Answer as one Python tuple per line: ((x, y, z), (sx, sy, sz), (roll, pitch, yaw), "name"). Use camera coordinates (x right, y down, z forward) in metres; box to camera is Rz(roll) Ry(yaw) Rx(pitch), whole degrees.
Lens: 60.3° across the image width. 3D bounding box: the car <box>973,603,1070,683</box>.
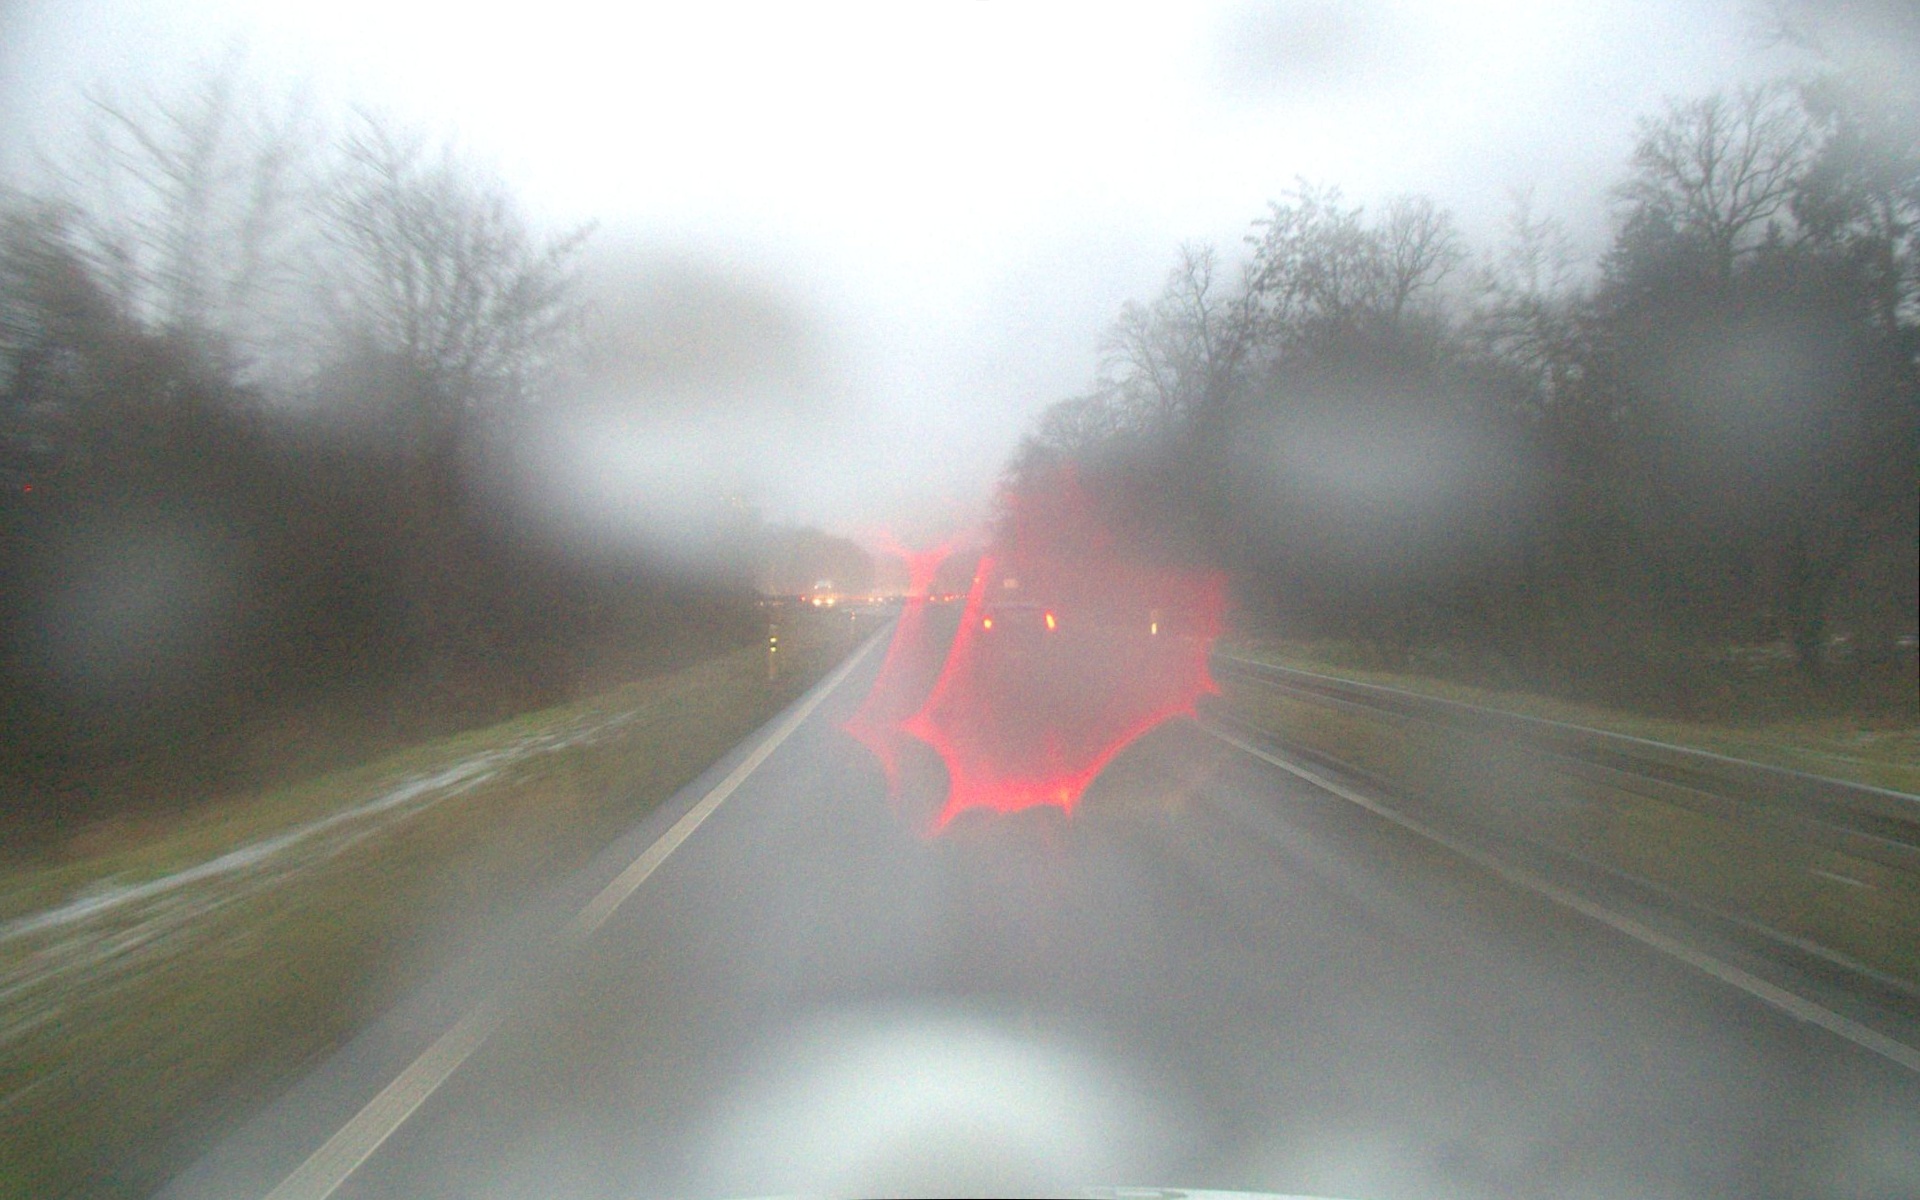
((1.135, 0.794, 31.926), (1.697, 1.454, 3.764), (0, 0, -1), "car")
